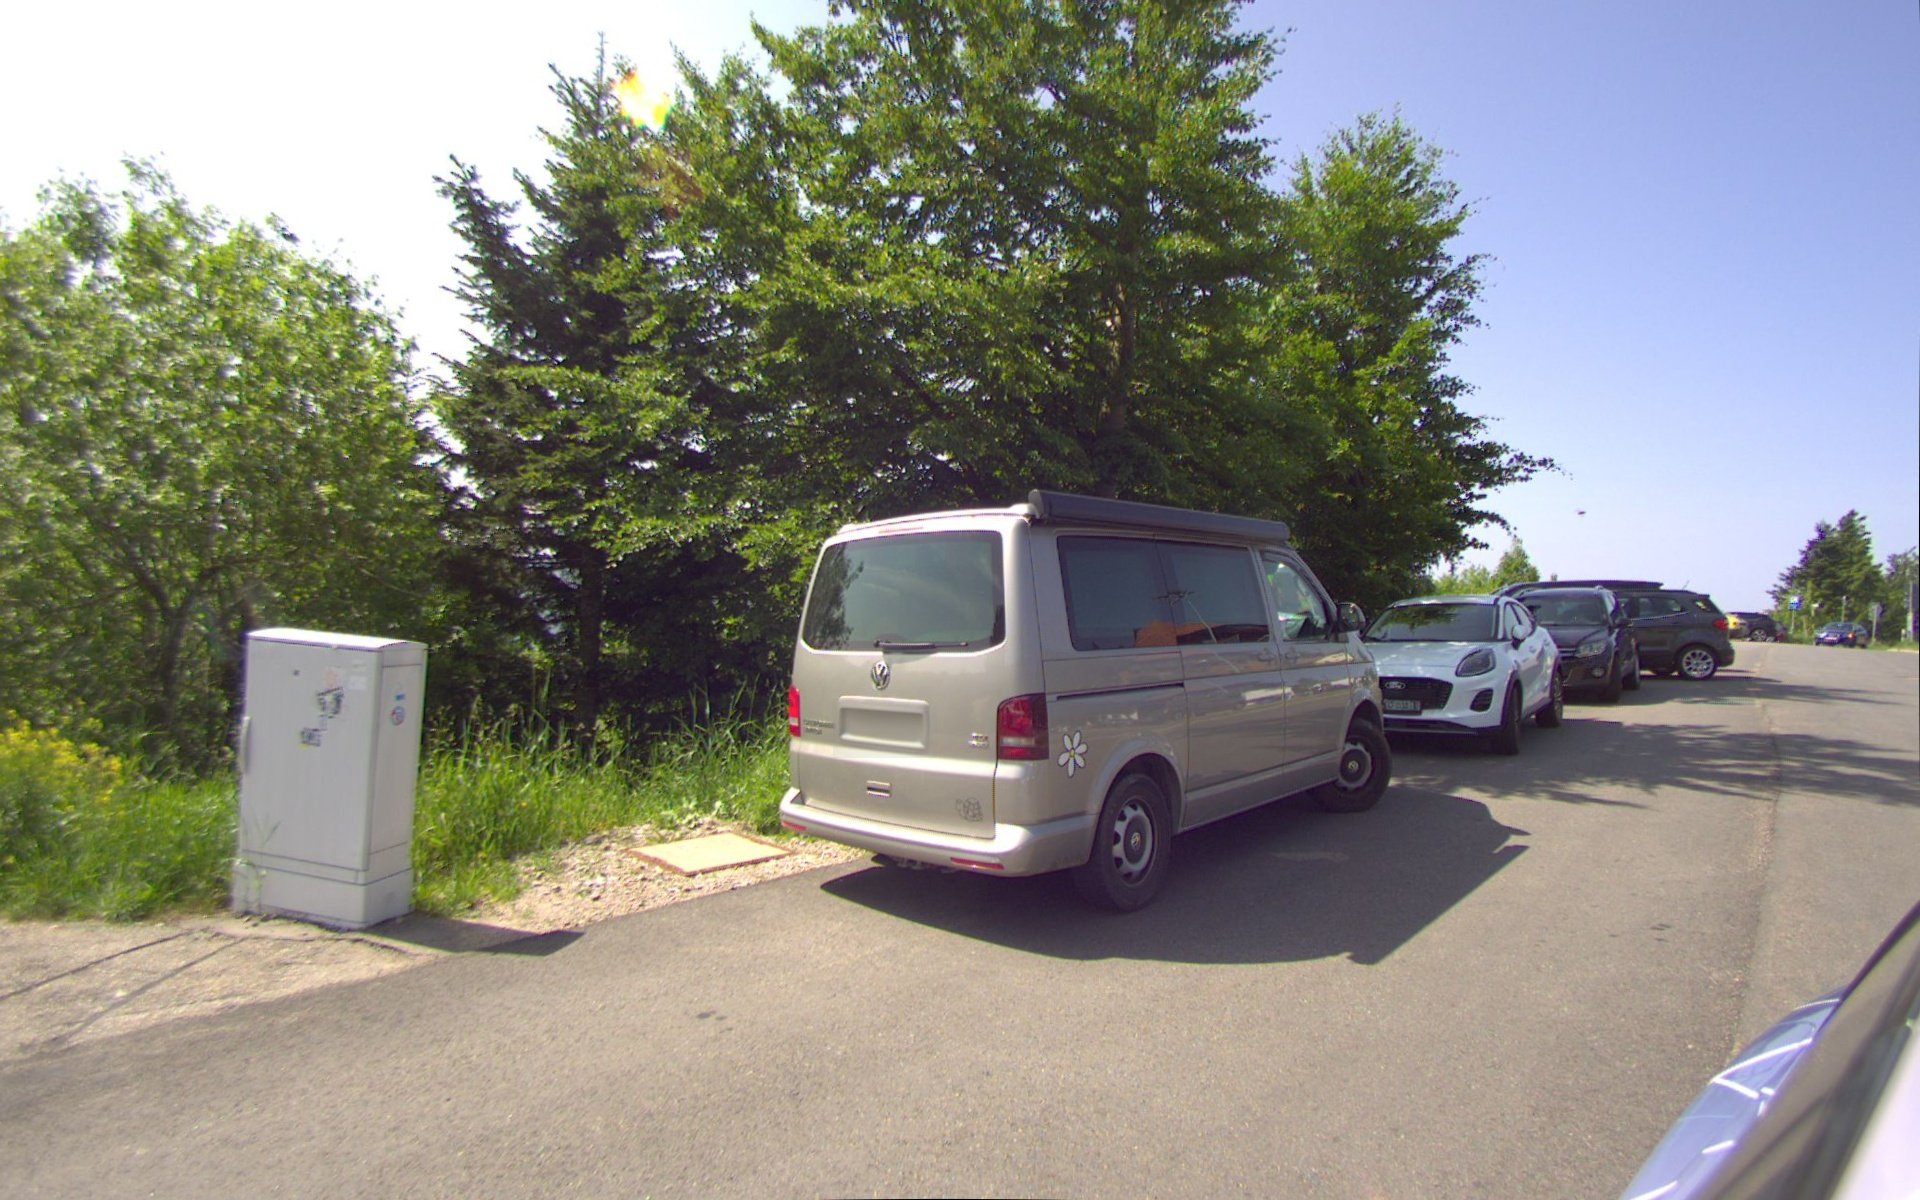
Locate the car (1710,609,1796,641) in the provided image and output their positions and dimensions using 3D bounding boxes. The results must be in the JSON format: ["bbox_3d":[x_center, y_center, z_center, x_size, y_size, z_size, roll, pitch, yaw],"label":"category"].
[{"bbox_3d":[48.085,1.484,61.392,3.900,1.634,1.847,4,2,43],"label":"car"}]

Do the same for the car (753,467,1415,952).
[{"bbox_3d":[1.114,0.465,6.409,1.856,1.960,4.537,-2,-2,43],"label":"car"}]

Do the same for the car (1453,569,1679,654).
[{"bbox_3d":[14.564,0.294,24.633,4.406,1.950,1.863,-1,-1,21],"label":"car"}]

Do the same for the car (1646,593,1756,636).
[{"bbox_3d":[38.729,0.731,52.950,4.446,1.949,1.847,4,2,43],"label":"car"}]

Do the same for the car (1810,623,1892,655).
[{"bbox_3d":[49.674,2.181,56.437,3.831,1.634,1.881,2,2,-23],"label":"car"}]

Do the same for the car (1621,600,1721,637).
[{"bbox_3d":[36.210,0.913,51.595,3.900,1.634,1.847,4,2,43],"label":"car"}]

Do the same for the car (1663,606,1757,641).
[{"bbox_3d":[40.923,1.246,55.232,3.900,1.634,1.847,4,2,43],"label":"car"}]

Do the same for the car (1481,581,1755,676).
[{"bbox_3d":[12.164,0.516,19.035,3.951,1.639,1.863,-1,-1,21],"label":"car"}]

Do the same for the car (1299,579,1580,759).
[{"bbox_3d":[5.331,0.618,10.981,1.867,1.567,3.943,-1,-1,39],"label":"car"}]

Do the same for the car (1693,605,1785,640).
[{"bbox_3d":[43.577,1.224,56.622,3.900,1.634,1.847,4,2,43],"label":"car"}]

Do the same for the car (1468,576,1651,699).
[{"bbox_3d":[9.347,0.514,15.646,1.867,1.639,3.943,-1,-1,39],"label":"car"}]

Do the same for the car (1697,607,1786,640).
[{"bbox_3d":[45.209,1.334,58.609,3.900,1.634,1.847,4,2,43],"label":"car"}]
